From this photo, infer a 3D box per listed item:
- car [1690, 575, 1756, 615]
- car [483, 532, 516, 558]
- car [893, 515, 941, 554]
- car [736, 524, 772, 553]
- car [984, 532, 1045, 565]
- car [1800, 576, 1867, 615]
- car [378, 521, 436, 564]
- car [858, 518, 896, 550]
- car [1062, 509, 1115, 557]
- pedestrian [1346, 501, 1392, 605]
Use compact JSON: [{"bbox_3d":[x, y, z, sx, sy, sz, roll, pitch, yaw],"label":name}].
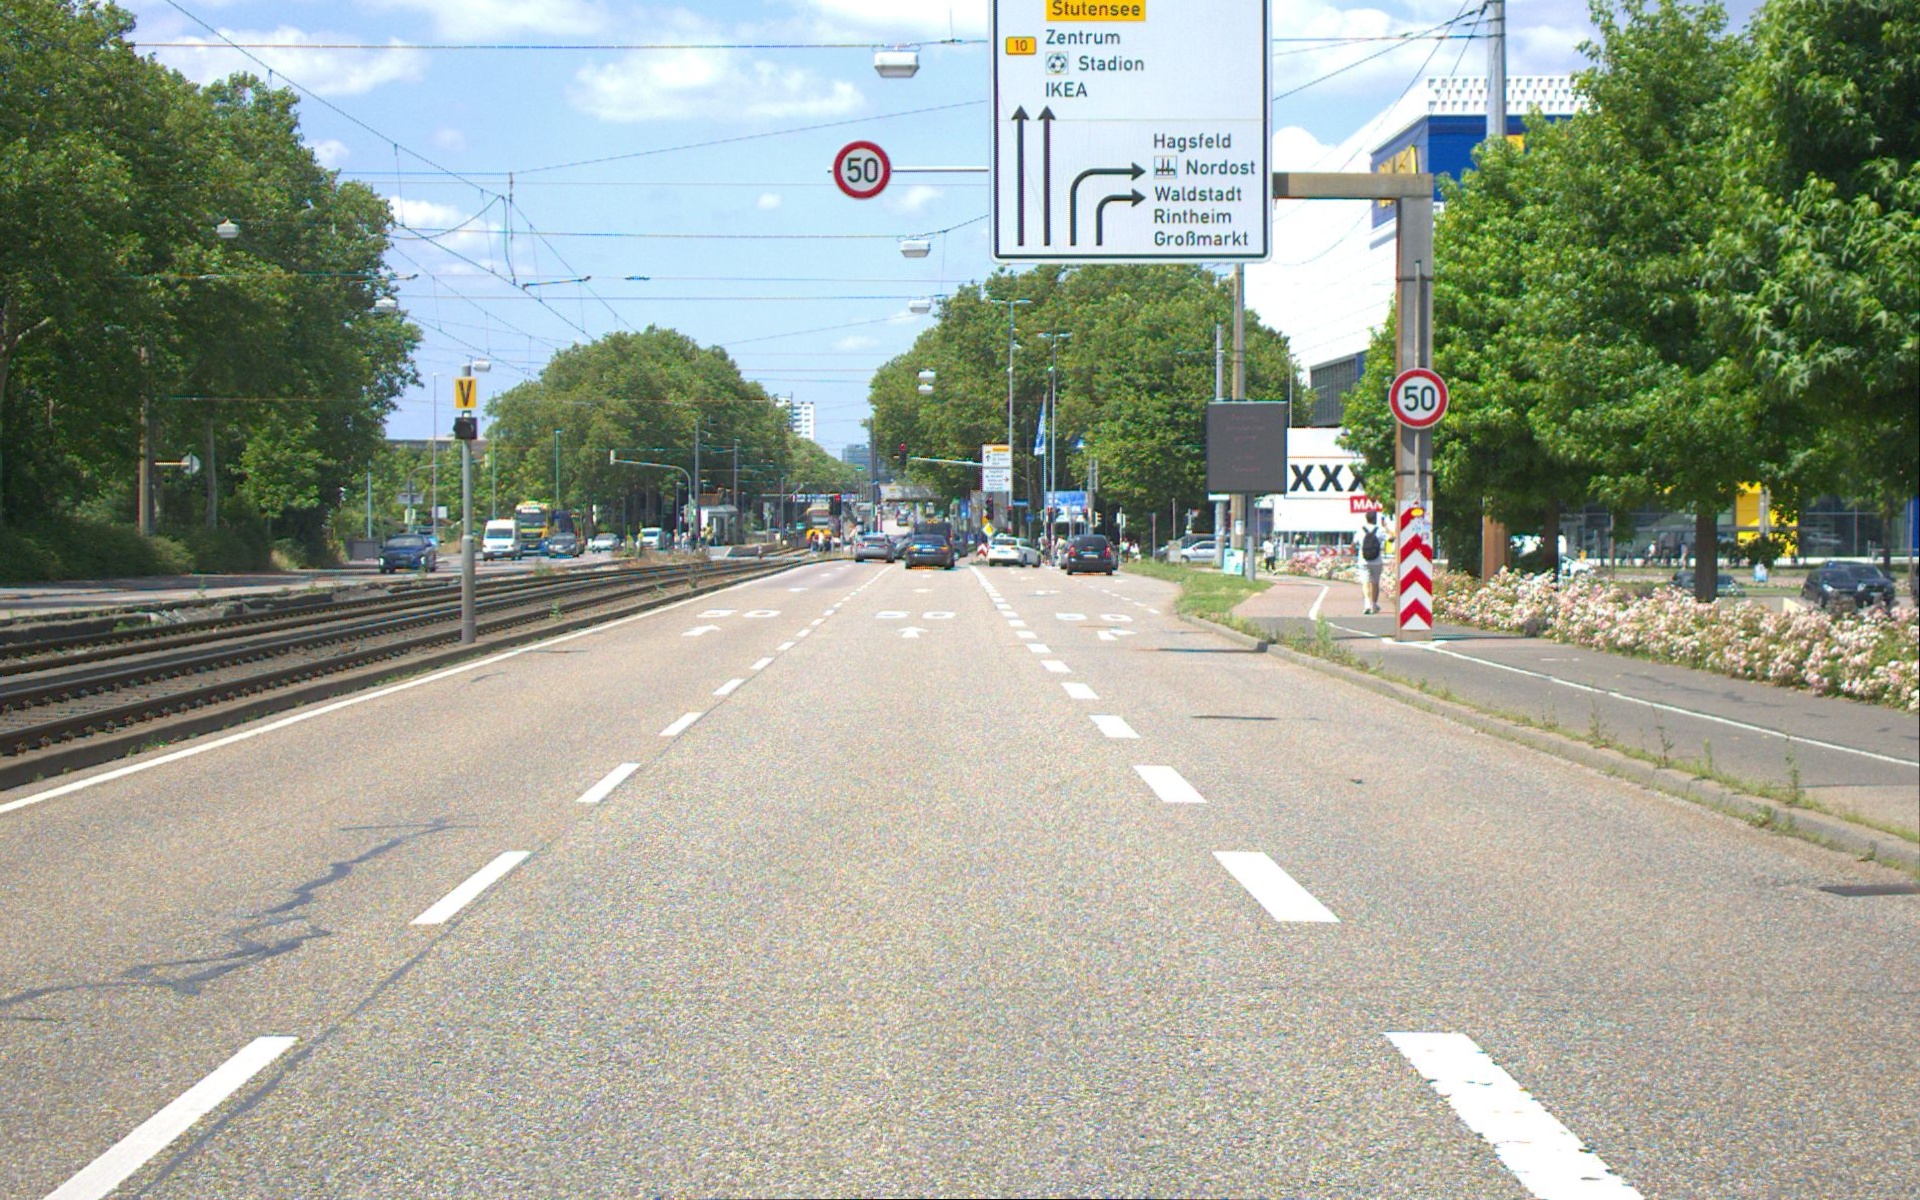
[{"bbox_3d":[30.550,-0.200,137.742,1.571,1.477,3.889,2,1,-2],"label":"car"},{"bbox_3d":[-29.180,-3.479,217.856,1.623,1.544,3.704,2,1,-1],"label":"car"},{"bbox_3d":[-1.772,-2.693,140.257,1.876,1.534,3.777,2,1,-1],"label":"car"},{"bbox_3d":[-11.407,-3.422,190.510,1.842,1.544,3.777,2,1,-2],"label":"car"},{"bbox_3d":[2.744,-2.565,171.580,1.687,1.544,3.979,2,1,22],"label":"car"},{"bbox_3d":[35.525,-0.193,139.935,1.571,1.477,3.889,2,1,-2],"label":"car"},{"bbox_3d":[-21.043,-2.199,130.964,1.644,1.545,4.217,1,1,-2],"label":"car"},{"bbox_3d":[-4.214,-3.355,173.544,1.842,1.544,3.777,2,1,-2],"label":"car"},{"bbox_3d":[4.981,-2.620,133.717,1.899,1.799,3.977,2,1,0],"label":"car"},{"bbox_3d":[7.111,-0.827,59.821,0.669,1.786,0.924,1,1,2],"label":"pedestrian"}]
